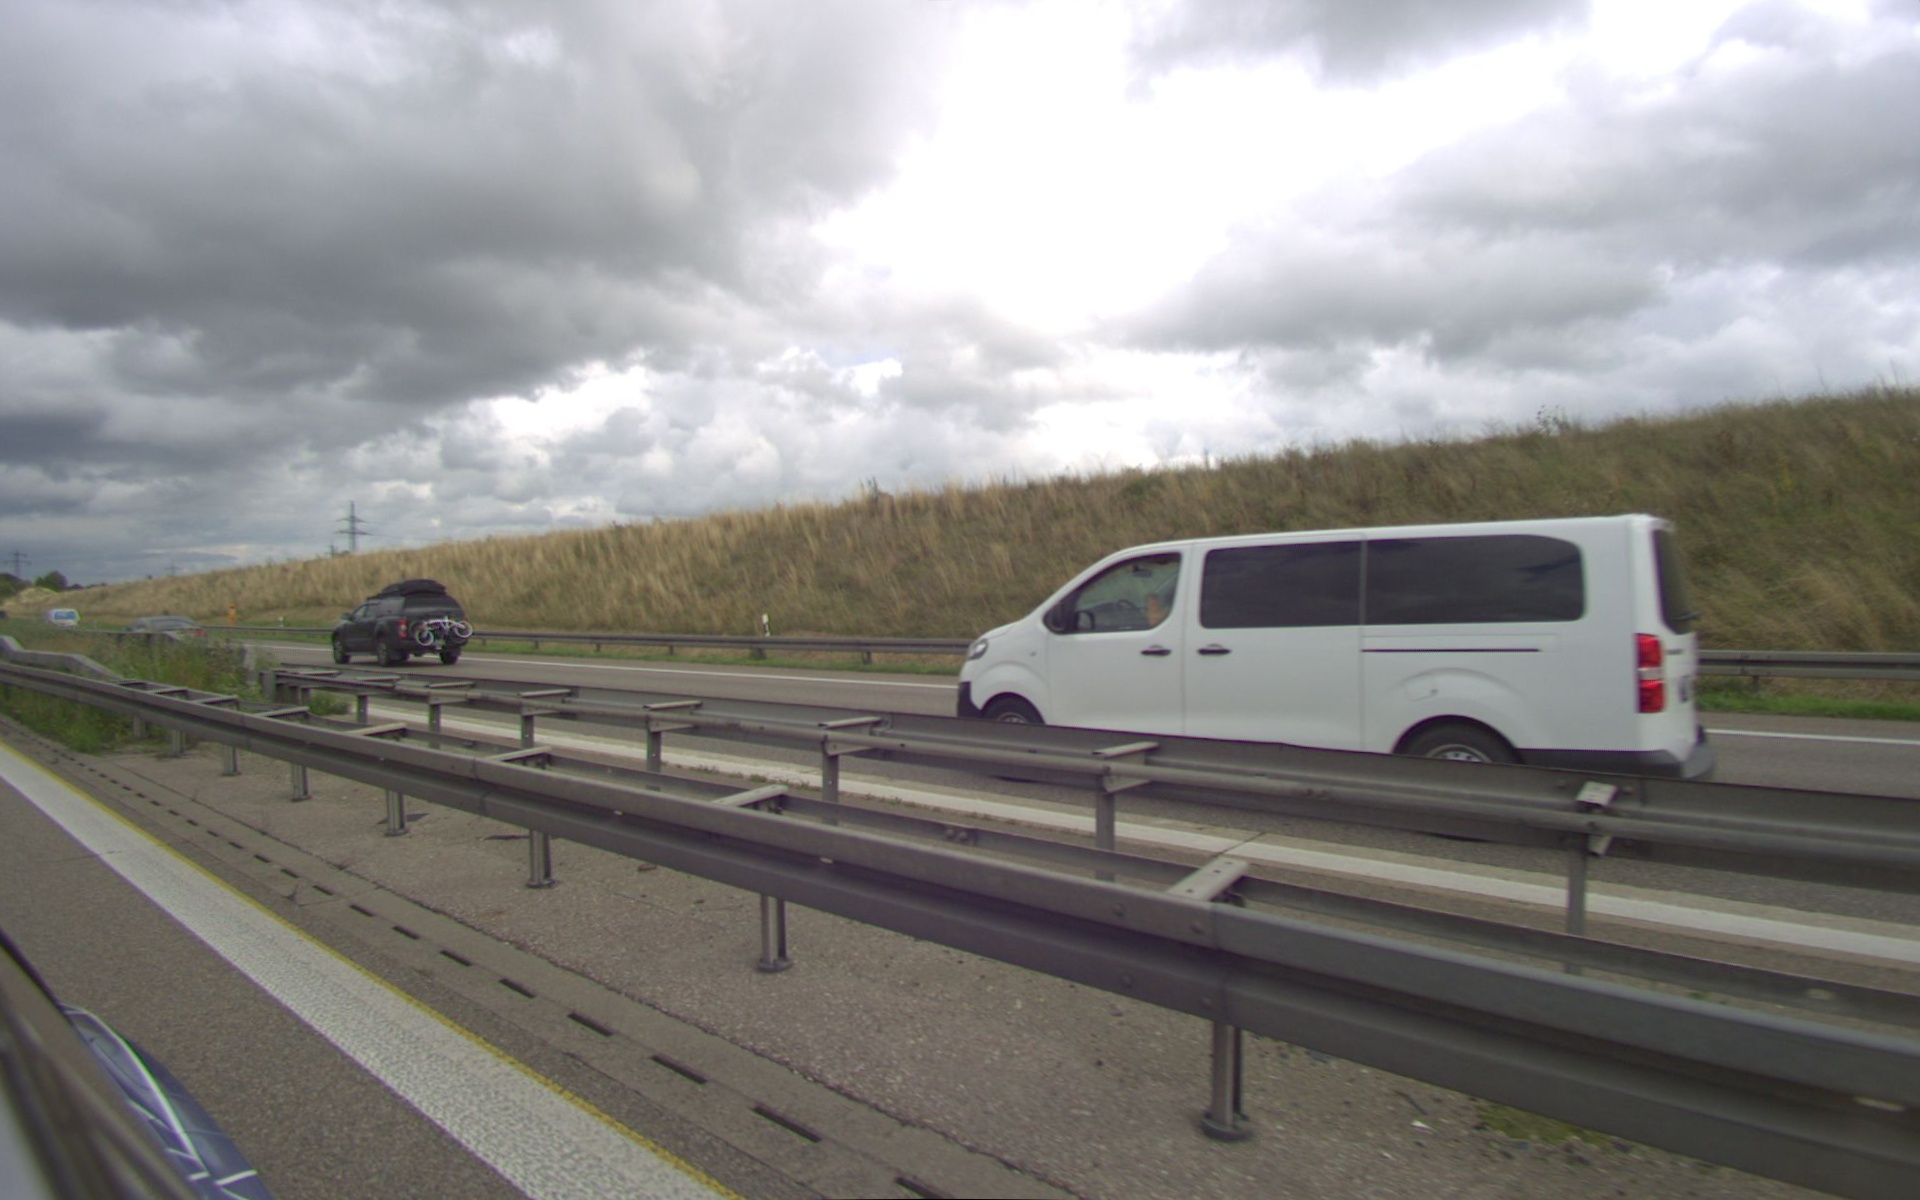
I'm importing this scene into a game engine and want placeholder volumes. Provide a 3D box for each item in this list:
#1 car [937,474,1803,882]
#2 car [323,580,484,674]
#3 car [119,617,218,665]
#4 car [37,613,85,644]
[{"bbox_3d":[2.440,0.360,7.191,5.417,1.899,1.809,0,1,42],"label":"car"},{"bbox_3d":[-15.025,0.649,27.164,5.716,2.259,1.973,0,1,42],"label":"car"},{"bbox_3d":[-26.168,1.299,33.424,4.404,1.412,1.792,0,1,41],"label":"car"},{"bbox_3d":[-63.140,1.980,71.058,4.706,2.029,1.973,-1,0,42],"label":"car"}]
